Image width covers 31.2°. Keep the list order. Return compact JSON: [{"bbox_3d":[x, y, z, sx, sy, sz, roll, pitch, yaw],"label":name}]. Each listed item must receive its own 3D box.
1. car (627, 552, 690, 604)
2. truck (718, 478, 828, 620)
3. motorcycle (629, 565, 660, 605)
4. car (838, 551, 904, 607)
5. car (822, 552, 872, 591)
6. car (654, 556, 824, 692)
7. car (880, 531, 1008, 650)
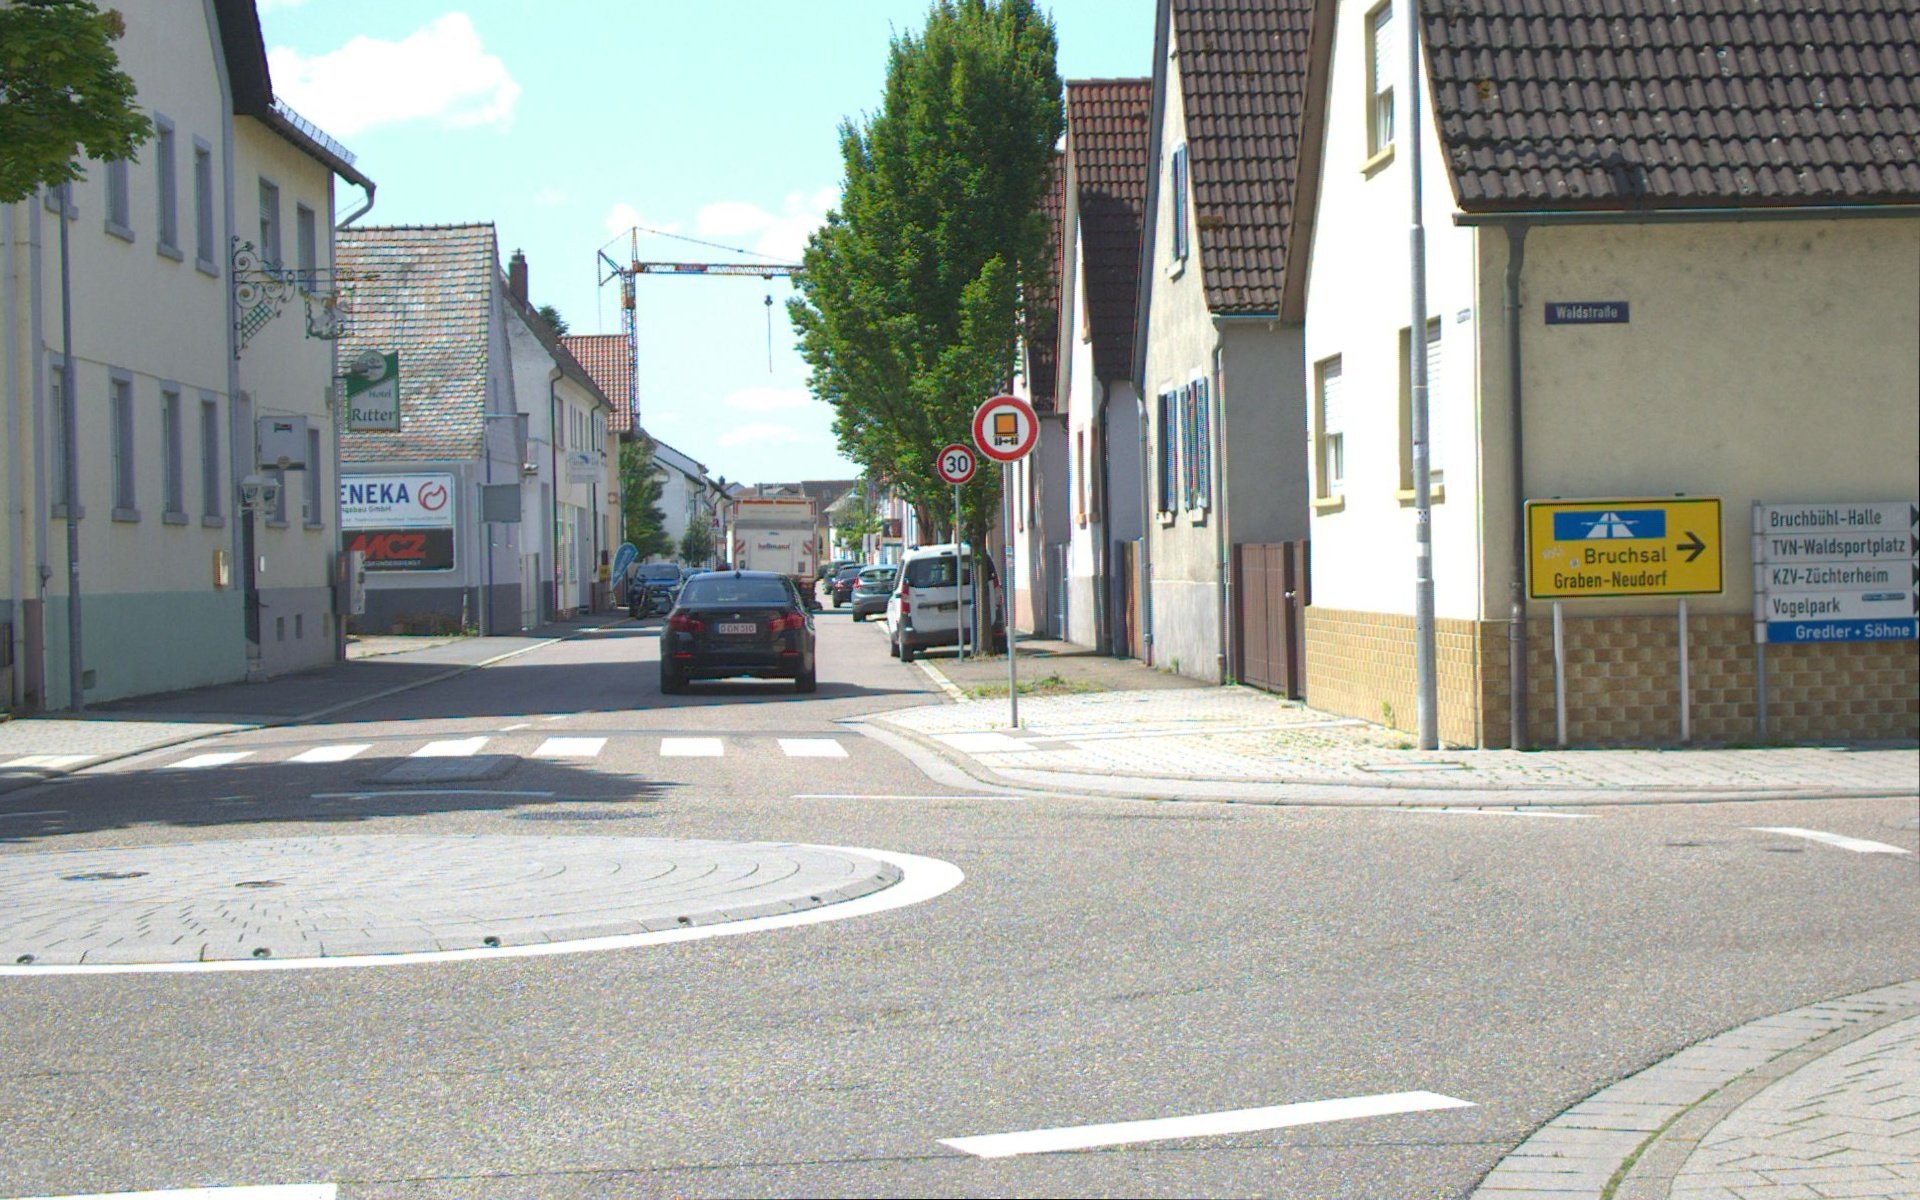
[{"bbox_3d":[-9.328,-0.692,106.567,1.809,1.583,4.001,0,1,-3],"label":"car"},{"bbox_3d":[-5.815,-1.554,108.485,3.144,4.236,9.302,1,0,-1],"label":"truck"},{"bbox_3d":[-9.403,-0.456,102.561,0.846,1.166,2.469,1,0,-4],"label":"motorcycle"},{"bbox_3d":[-2.368,-0.576,92.339,1.719,1.456,4.157,0,1,-1],"label":"car"},{"bbox_3d":[-3.980,-1.004,120.634,1.719,1.350,4.157,0,1,-2],"label":"car"},{"bbox_3d":[-2.654,0.249,42.122,1.902,1.558,4.477,0,1,-2],"label":"car"},{"bbox_3d":[-0.301,-0.179,55.718,1.719,1.784,4.144,-2,1,-4],"label":"car"}]
